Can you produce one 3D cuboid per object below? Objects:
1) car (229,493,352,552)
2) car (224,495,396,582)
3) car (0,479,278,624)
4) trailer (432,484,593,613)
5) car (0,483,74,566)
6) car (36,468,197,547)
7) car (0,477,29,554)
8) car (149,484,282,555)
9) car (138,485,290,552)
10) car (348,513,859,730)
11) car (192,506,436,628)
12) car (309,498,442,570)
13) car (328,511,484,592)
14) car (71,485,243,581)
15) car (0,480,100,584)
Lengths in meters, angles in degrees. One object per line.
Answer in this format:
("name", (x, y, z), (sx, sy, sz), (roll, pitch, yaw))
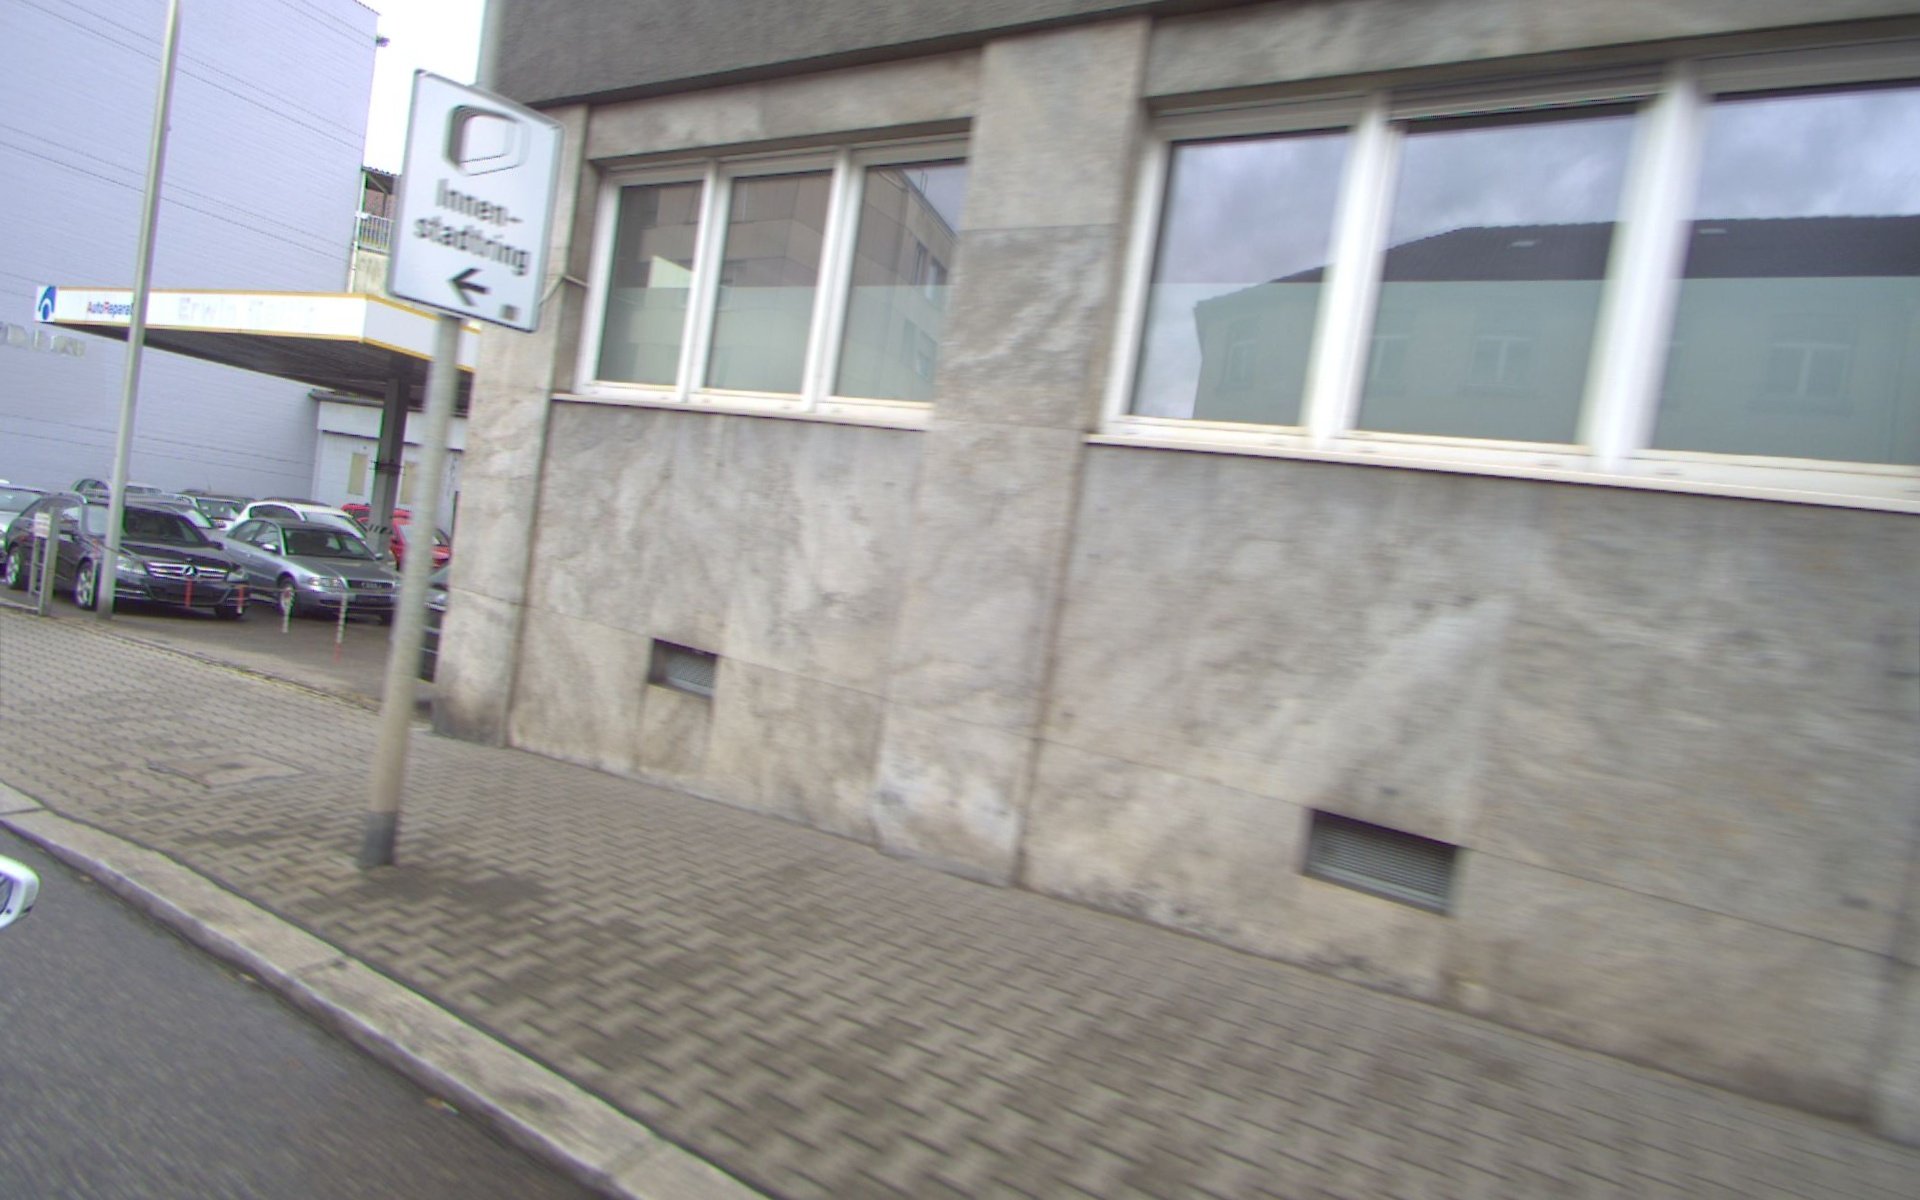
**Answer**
("car", (-20.059, -2.328, 30.142), (3.294, 1.370, 1.456), (6, -1, 25))
("car", (-14.424, -1.374, 22.303), (3.459, 1.530, 1.556), (6, -1, 27))
("car", (-11.788, -0.722, 14.217), (4.410, 1.494, 1.800), (7, -1, 32))
("trailer", (-9.806, -1.135, 21.998), (3.151, 2.466, 1.429), (7, 2, 29))
("car", (-19.870, -1.666, 19.291), (1.700, 1.512, 4.005), (6, -2, 11))
("car", (-22.033, -2.420, 26.273), (3.798, 1.616, 1.649), (6, -1, 25))
("car", (-21.979, -2.023, 20.531), (1.765, 1.616, 4.005), (6, -2, 11))
("car", (-20.857, -2.255, 28.166), (3.331, 1.616, 1.454), (6, -1, 25))
("car", (-17.962, -1.953, 24.212), (3.331, 1.216, 1.454), (6, -2, 25))
("car", (-3.247, 0.360, 10.124), (1.857, 1.529, 4.498), (7, -3, 34))
("car", (-10.786, -0.578, 16.696), (4.414, 1.495, 1.797), (7, 0, 35))
("car", (-16.361, -1.846, 28.171), (3.331, 1.616, 1.454), (6, -1, 25))
("car", (-13.290, -1.170, 24.112), (3.459, 1.530, 1.454), (6, -1, 27))
("car", (-15.767, -1.326, 19.719), (3.337, 1.530, 1.529), (5, -2, 32))
("car", (-16.486, -1.292, 17.044), (4.000, 1.494, 1.569), (7, -1, 30))
